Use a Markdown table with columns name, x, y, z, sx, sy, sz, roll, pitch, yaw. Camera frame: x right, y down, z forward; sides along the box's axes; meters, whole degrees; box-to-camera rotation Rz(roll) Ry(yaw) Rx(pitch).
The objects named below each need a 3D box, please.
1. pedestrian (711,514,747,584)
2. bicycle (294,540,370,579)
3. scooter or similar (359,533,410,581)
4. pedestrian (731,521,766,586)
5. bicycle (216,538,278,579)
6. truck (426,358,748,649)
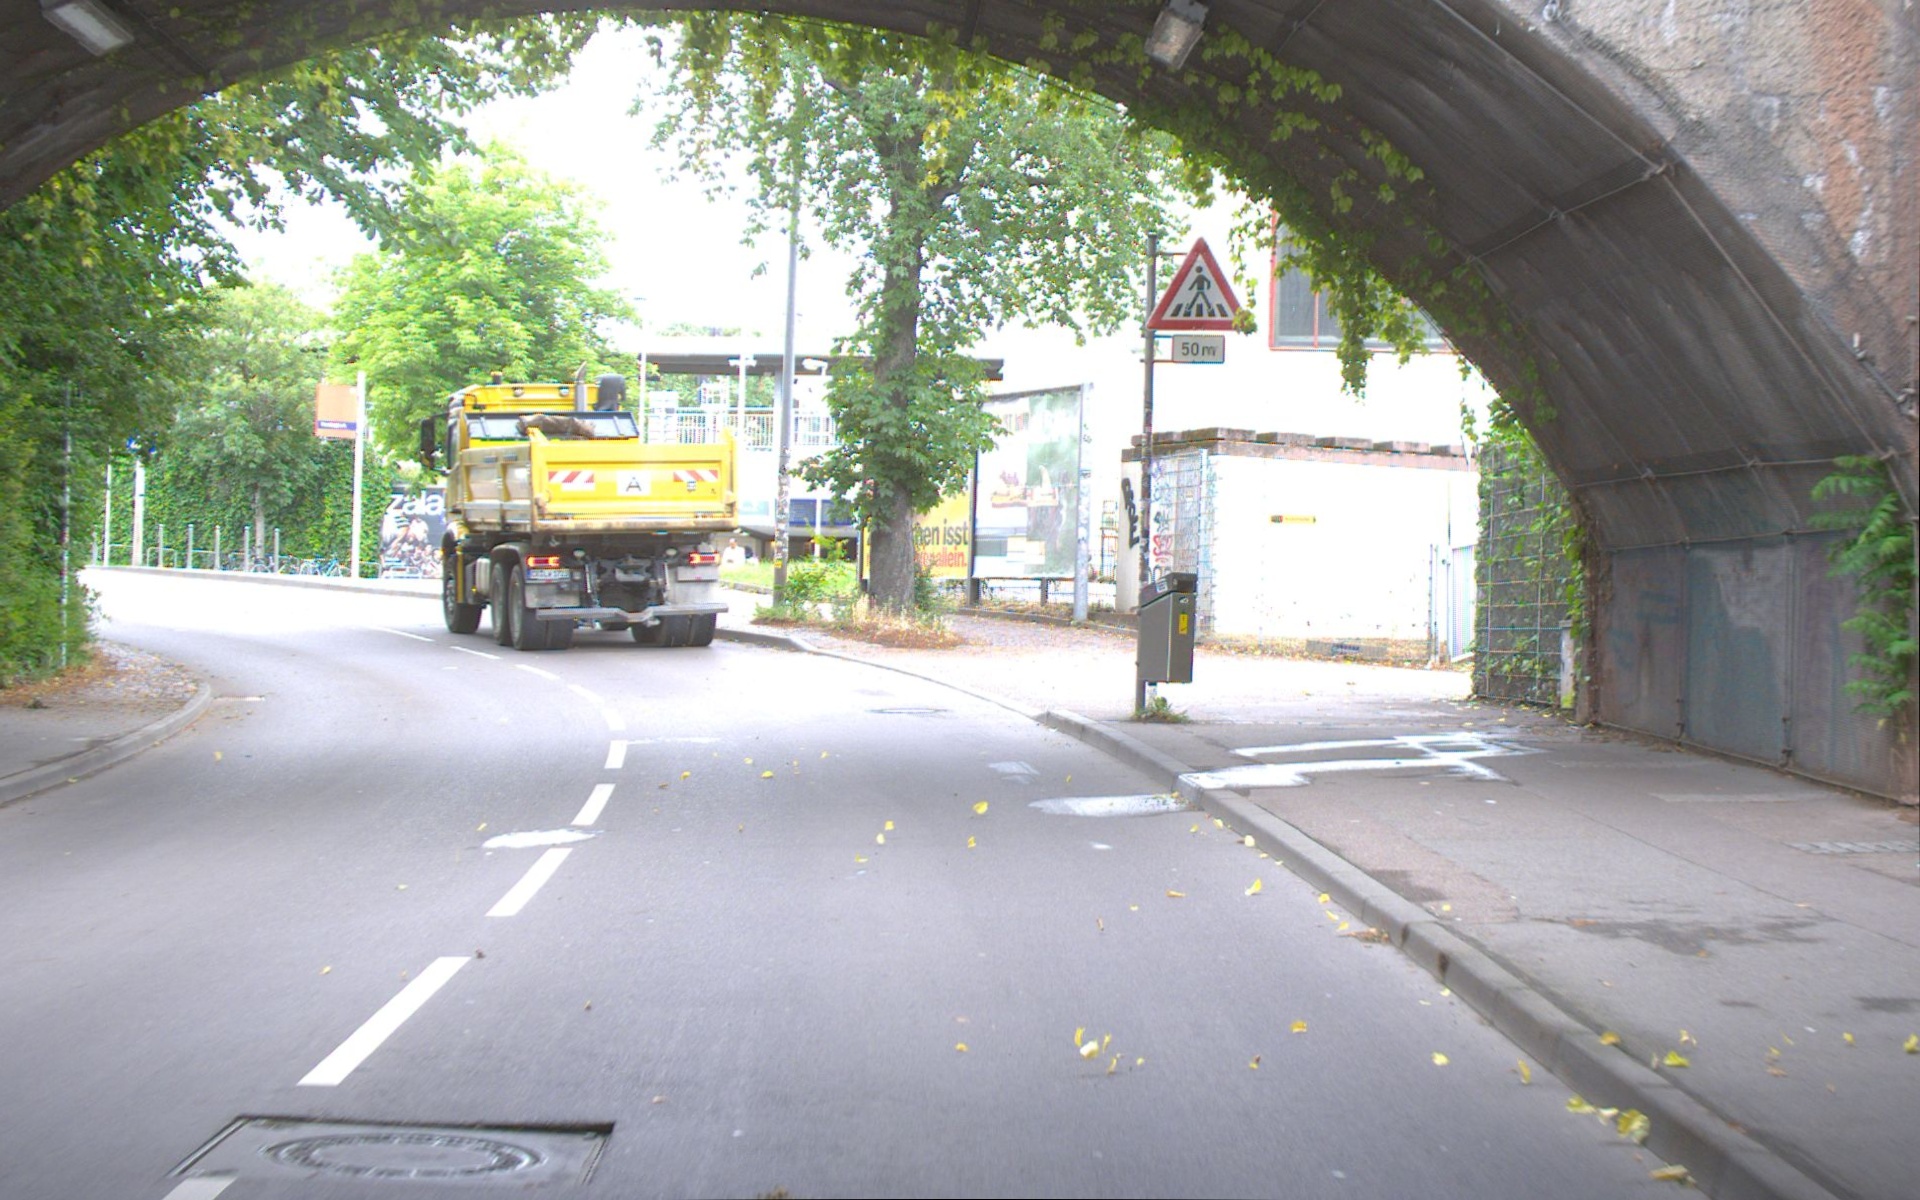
| name | x | y | z | sx | sy | sz | roll | pitch | yaw |
| --- | --- | --- | --- | --- | --- | --- | --- | --- | --- |
| pedestrian | -5.694 | -1.257 | 84.785 | 0.814 | 1.697 | 0.749 | 2 | -1 | -1 |
| bicycle | -16.988 | -1.097 | 93.060 | 1.966 | 0.862 | 0.511 | 6 | -2 | -40 |
| scooter or similar | -15.466 | -1.155 | 92.349 | 1.187 | 1.202 | 0.468 | 5 | -2 | -37 |
| pedestrian | -5.321 | -1.168 | 86.365 | 0.799 | 1.578 | 0.802 | 2 | -1 | -1 |
| bicycle | -19.337 | -1.118 | 93.257 | 1.487 | 0.986 | 0.694 | 4 | 0 | -23 |
| truck | -5.074 | -1.345 | 45.246 | 2.764 | 3.471 | 8.132 | 0 | 3 | -16 |
